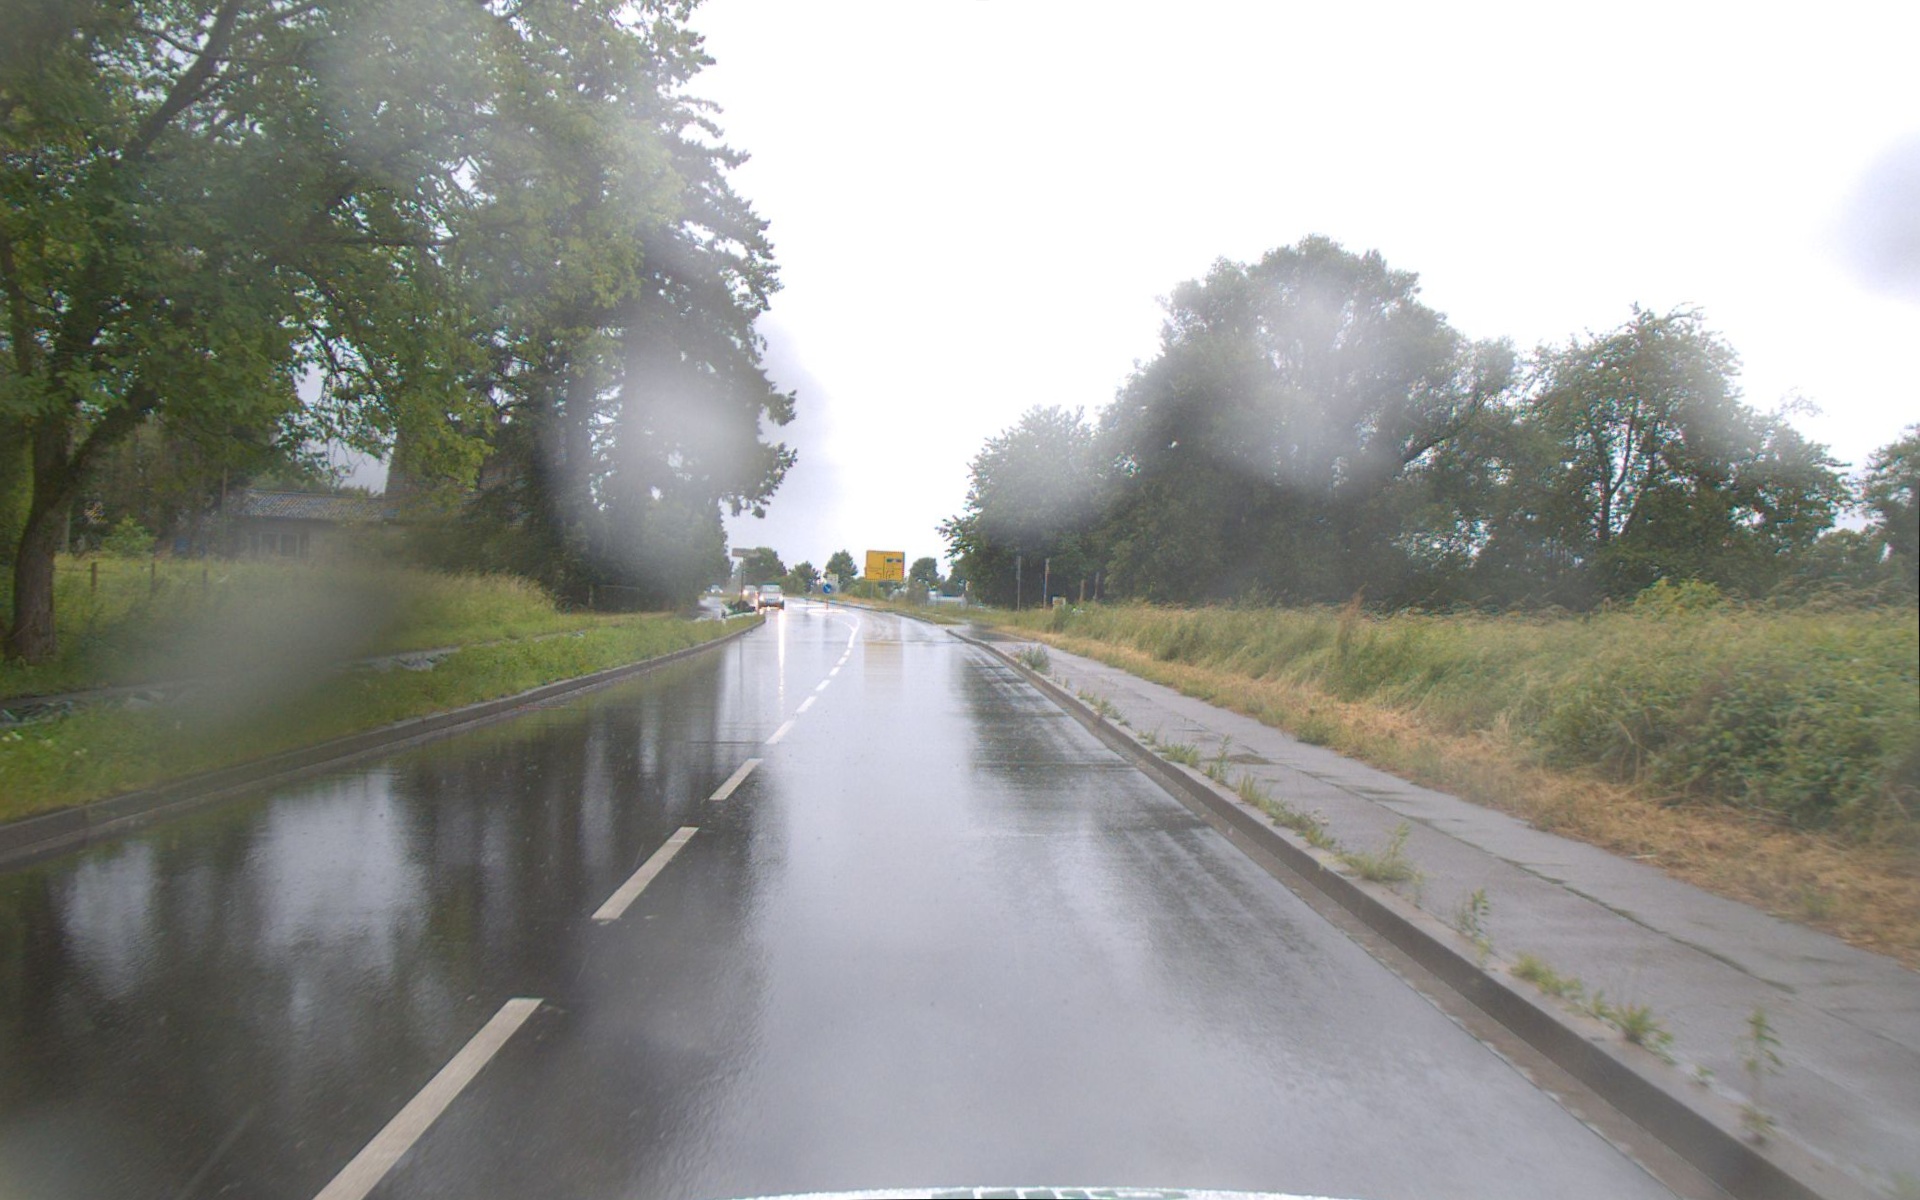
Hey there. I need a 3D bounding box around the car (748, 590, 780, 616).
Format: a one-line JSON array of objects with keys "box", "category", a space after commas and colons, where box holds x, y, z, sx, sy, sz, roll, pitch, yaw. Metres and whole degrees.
[{"box": [-13.277, 0.181, 111.835, 1.729, 1.579, 3.988, 2, 0, -12], "category": "car"}]
